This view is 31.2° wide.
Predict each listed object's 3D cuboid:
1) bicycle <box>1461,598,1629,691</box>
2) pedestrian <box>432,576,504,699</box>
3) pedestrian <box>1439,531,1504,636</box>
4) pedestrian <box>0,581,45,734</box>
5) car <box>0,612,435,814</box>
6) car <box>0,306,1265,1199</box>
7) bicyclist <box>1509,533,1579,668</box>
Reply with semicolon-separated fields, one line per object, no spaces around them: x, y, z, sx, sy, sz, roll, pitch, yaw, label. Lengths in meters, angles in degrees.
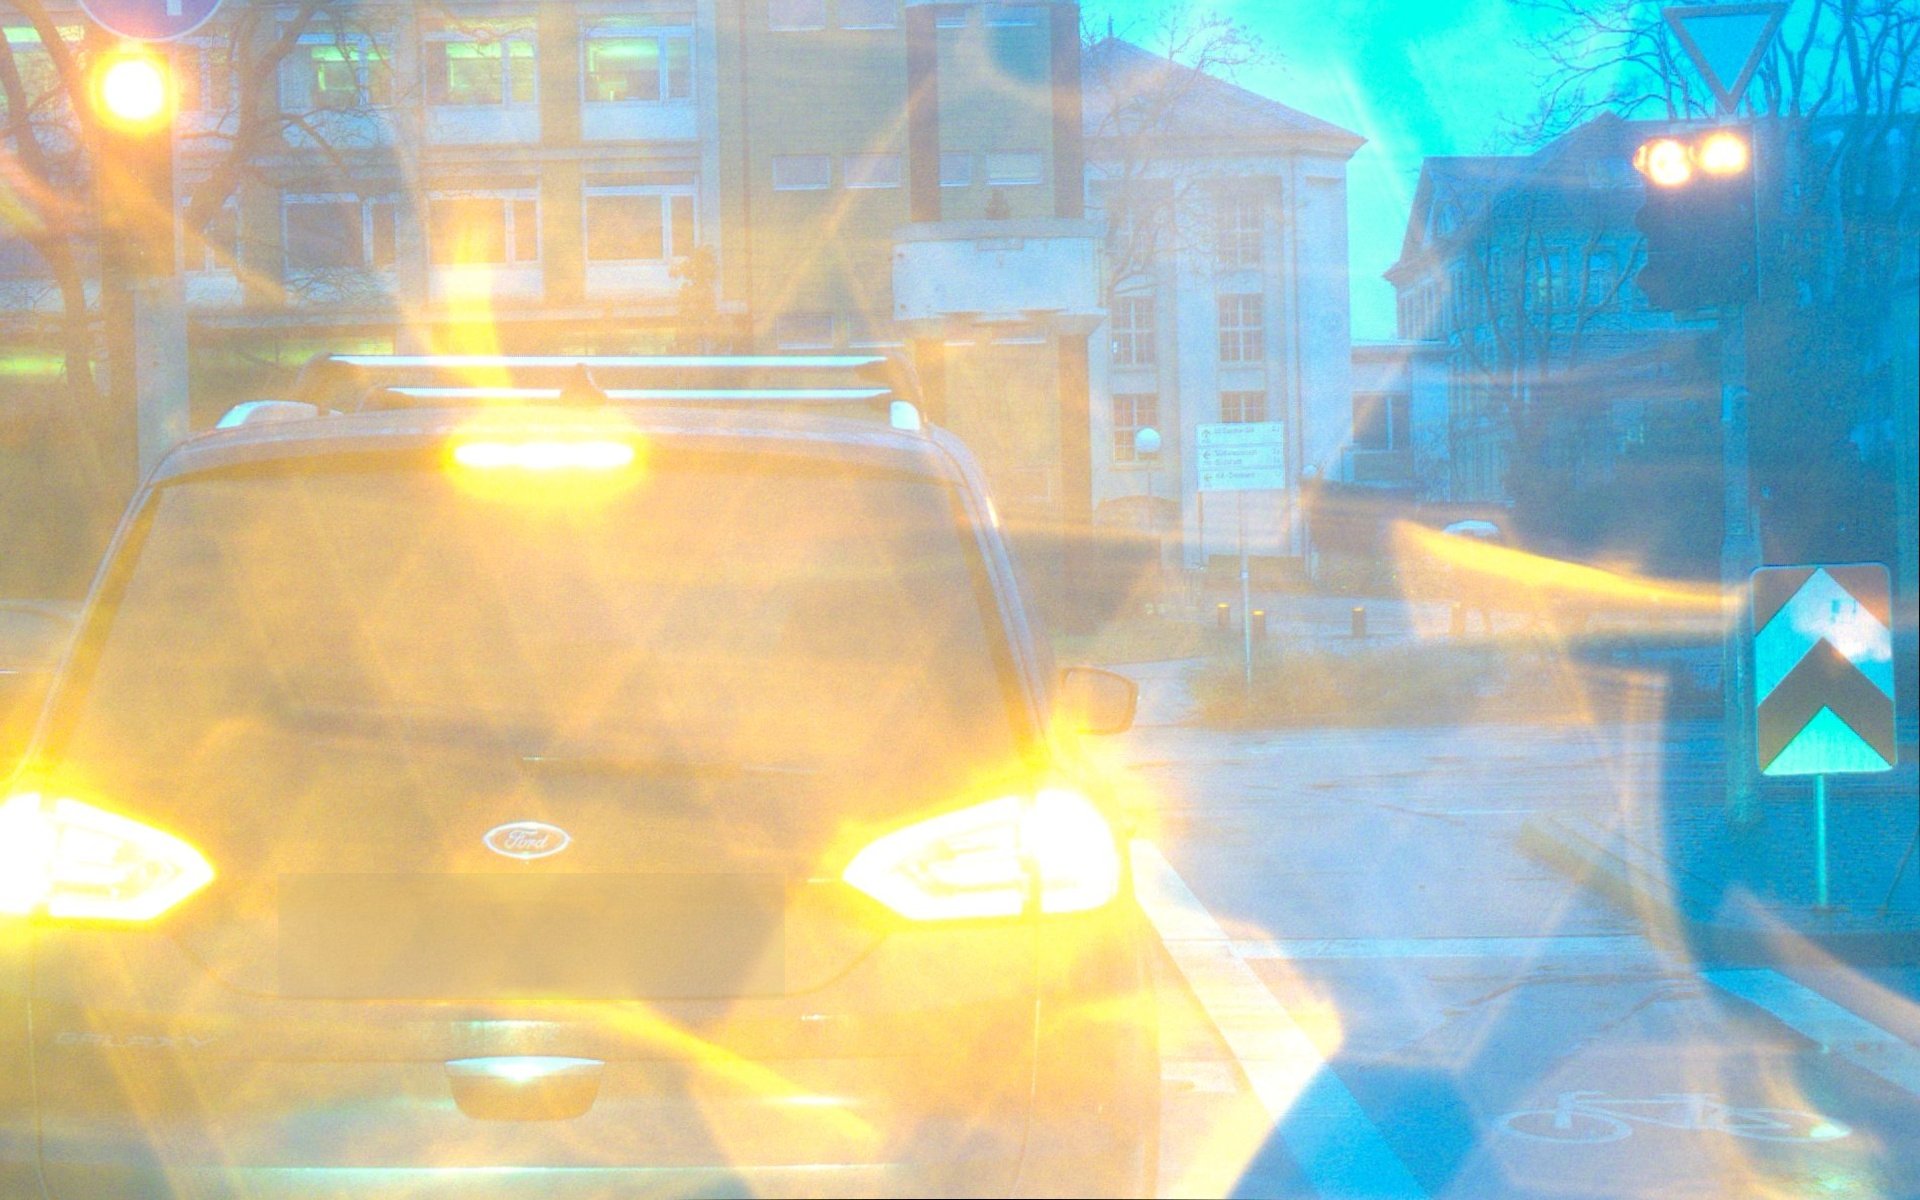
7.035;0.534;41.370;1.885;1.044;0.659;-2;1;18;bicycle
-6.676;0.502;46.649;0.760;1.622;0.557;-2;1;13;pedestrian
8.094;-0.265;54.373;0.720;1.622;0.761;-1;1;32;pedestrian
-12.219;0.727;42.817;1.002;1.836;1.138;-2;3;23;pedestrian
-6.325;0.809;24.528;4.686;1.297;1.938;-2;0;12;car
-0.626;0.492;6.561;1.993;1.783;4.000;1;1;-1;car
7.027;0.002;41.349;0.685;1.594;0.659;-2;1;18;bicyclist
